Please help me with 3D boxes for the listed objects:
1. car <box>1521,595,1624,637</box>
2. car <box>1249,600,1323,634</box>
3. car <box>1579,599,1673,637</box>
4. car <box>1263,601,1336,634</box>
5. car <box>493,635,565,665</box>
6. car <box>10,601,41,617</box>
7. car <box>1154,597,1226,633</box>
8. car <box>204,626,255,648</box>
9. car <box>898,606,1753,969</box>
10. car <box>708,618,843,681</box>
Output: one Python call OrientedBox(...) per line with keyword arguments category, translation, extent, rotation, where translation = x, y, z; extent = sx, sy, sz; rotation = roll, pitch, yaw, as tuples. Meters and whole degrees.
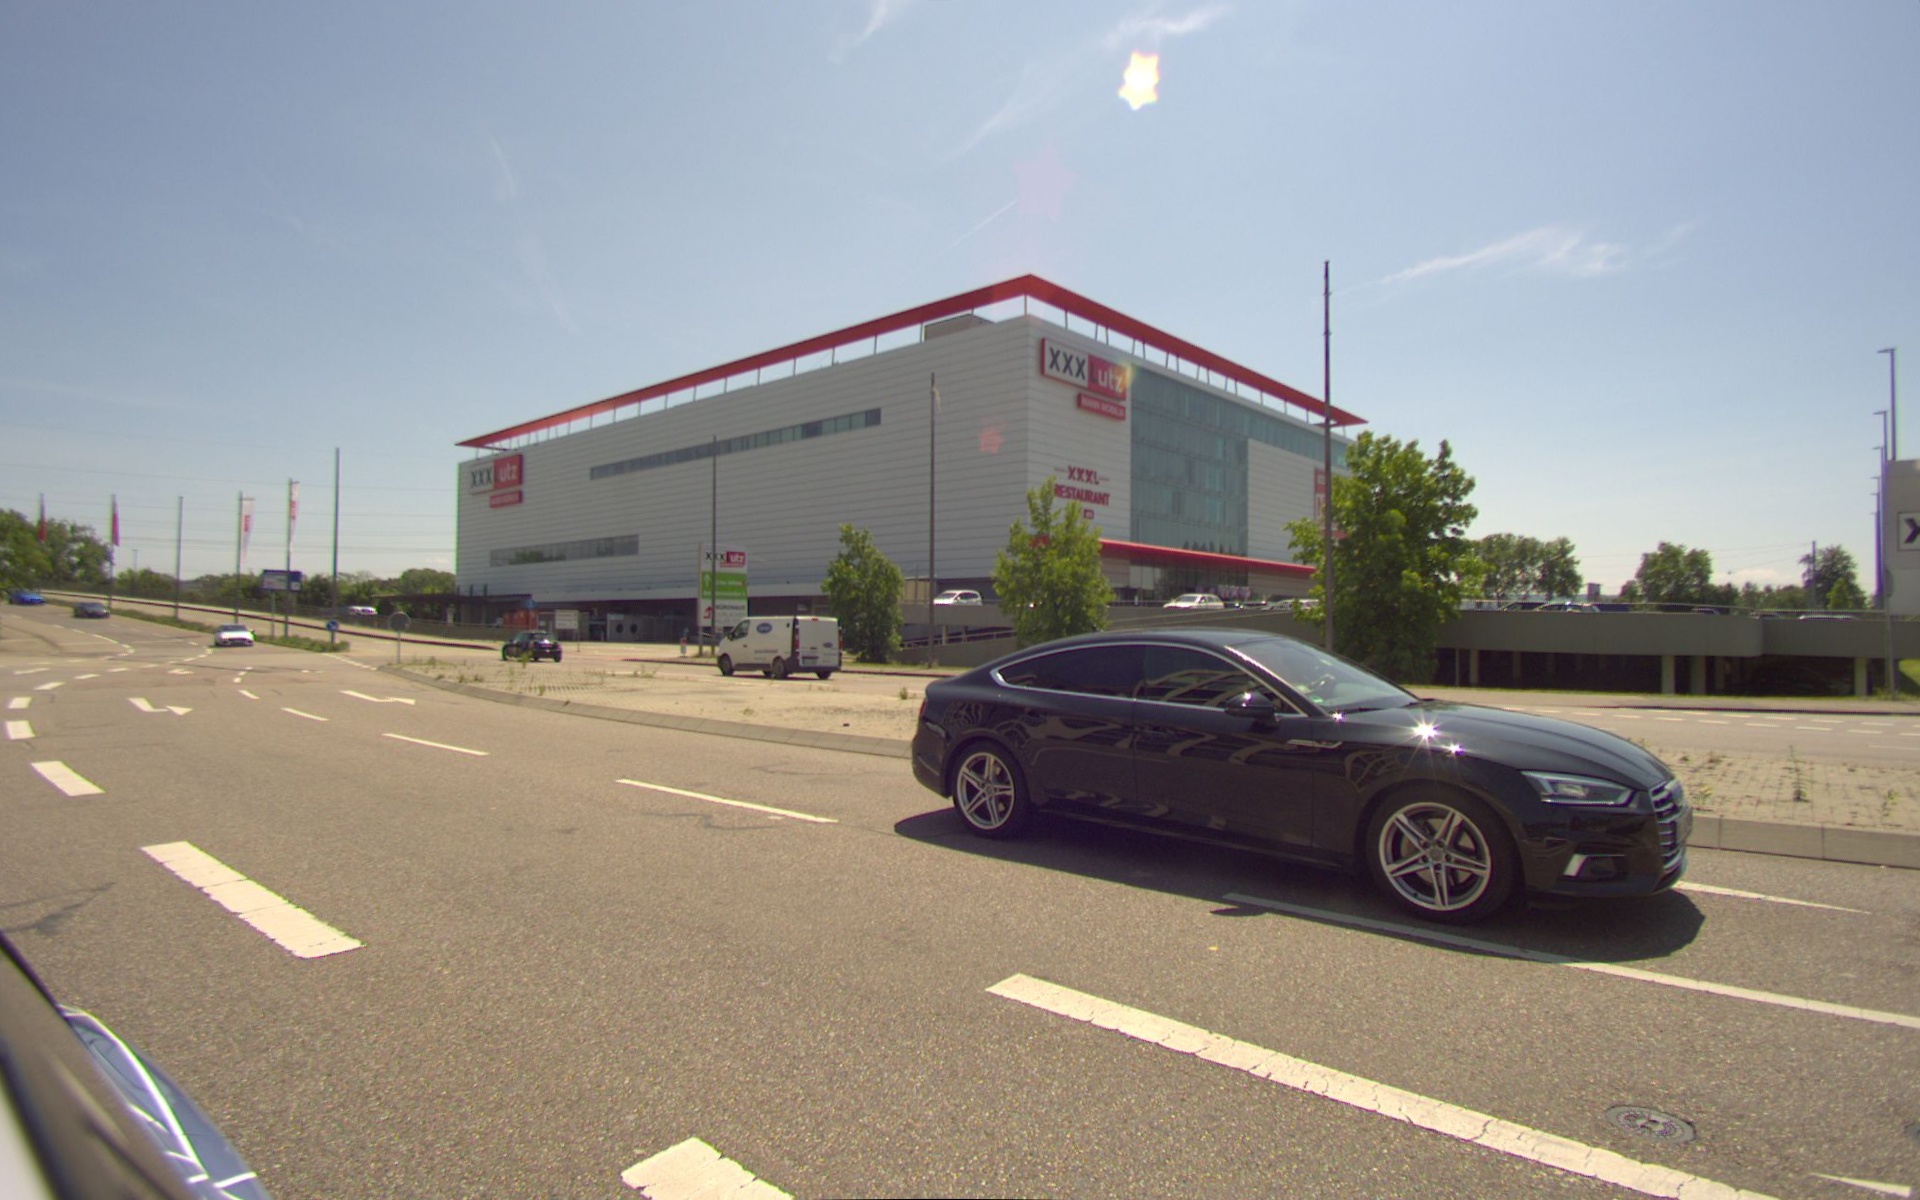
OrientedBox(category="car", translation=(29.523, 0.790, 48.812), extent=(3.997, 1.946, 1.973), rotation=(-1, -3, 40))
OrientedBox(category="car", translation=(20.291, 1.065, 63.049), extent=(3.998, 2.029, 1.972), rotation=(-1, -2, 42))
OrientedBox(category="car", translation=(35.197, 0.980, 53.499), extent=(3.995, 1.923, 1.974), rotation=(-1, -3, 38))
OrientedBox(category="car", translation=(21.725, 1.139, 64.751), extent=(3.998, 2.029, 1.972), rotation=(-1, -2, 42))
OrientedBox(category="car", translation=(-20.114, 2.318, 47.183), extent=(1.834, 1.312, 3.896), rotation=(3, -4, -44))
OrientedBox(category="car", translation=(-94.165, 0.931, 101.977), extent=(4.405, 1.424, 1.778), rotation=(2, 0, 41))
OrientedBox(category="car", translation=(12.403, 0.838, 54.470), extent=(2.000, 1.781, 4.141), rotation=(-1, -3, 43))
OrientedBox(category="car", translation=(-48.066, 2.429, 66.522), extent=(4.226, 1.461, 1.713), rotation=(-2, -3, 40))
OrientedBox(category="car", translation=(1.822, 0.803, 6.107), extent=(4.532, 1.401, 1.729), rotation=(-2, -2, 42))
OrientedBox(category="car", translation=(-5.932, 1.533, 32.217), extent=(1.809, 1.864, 4.843), rotation=(2, -3, -45))
